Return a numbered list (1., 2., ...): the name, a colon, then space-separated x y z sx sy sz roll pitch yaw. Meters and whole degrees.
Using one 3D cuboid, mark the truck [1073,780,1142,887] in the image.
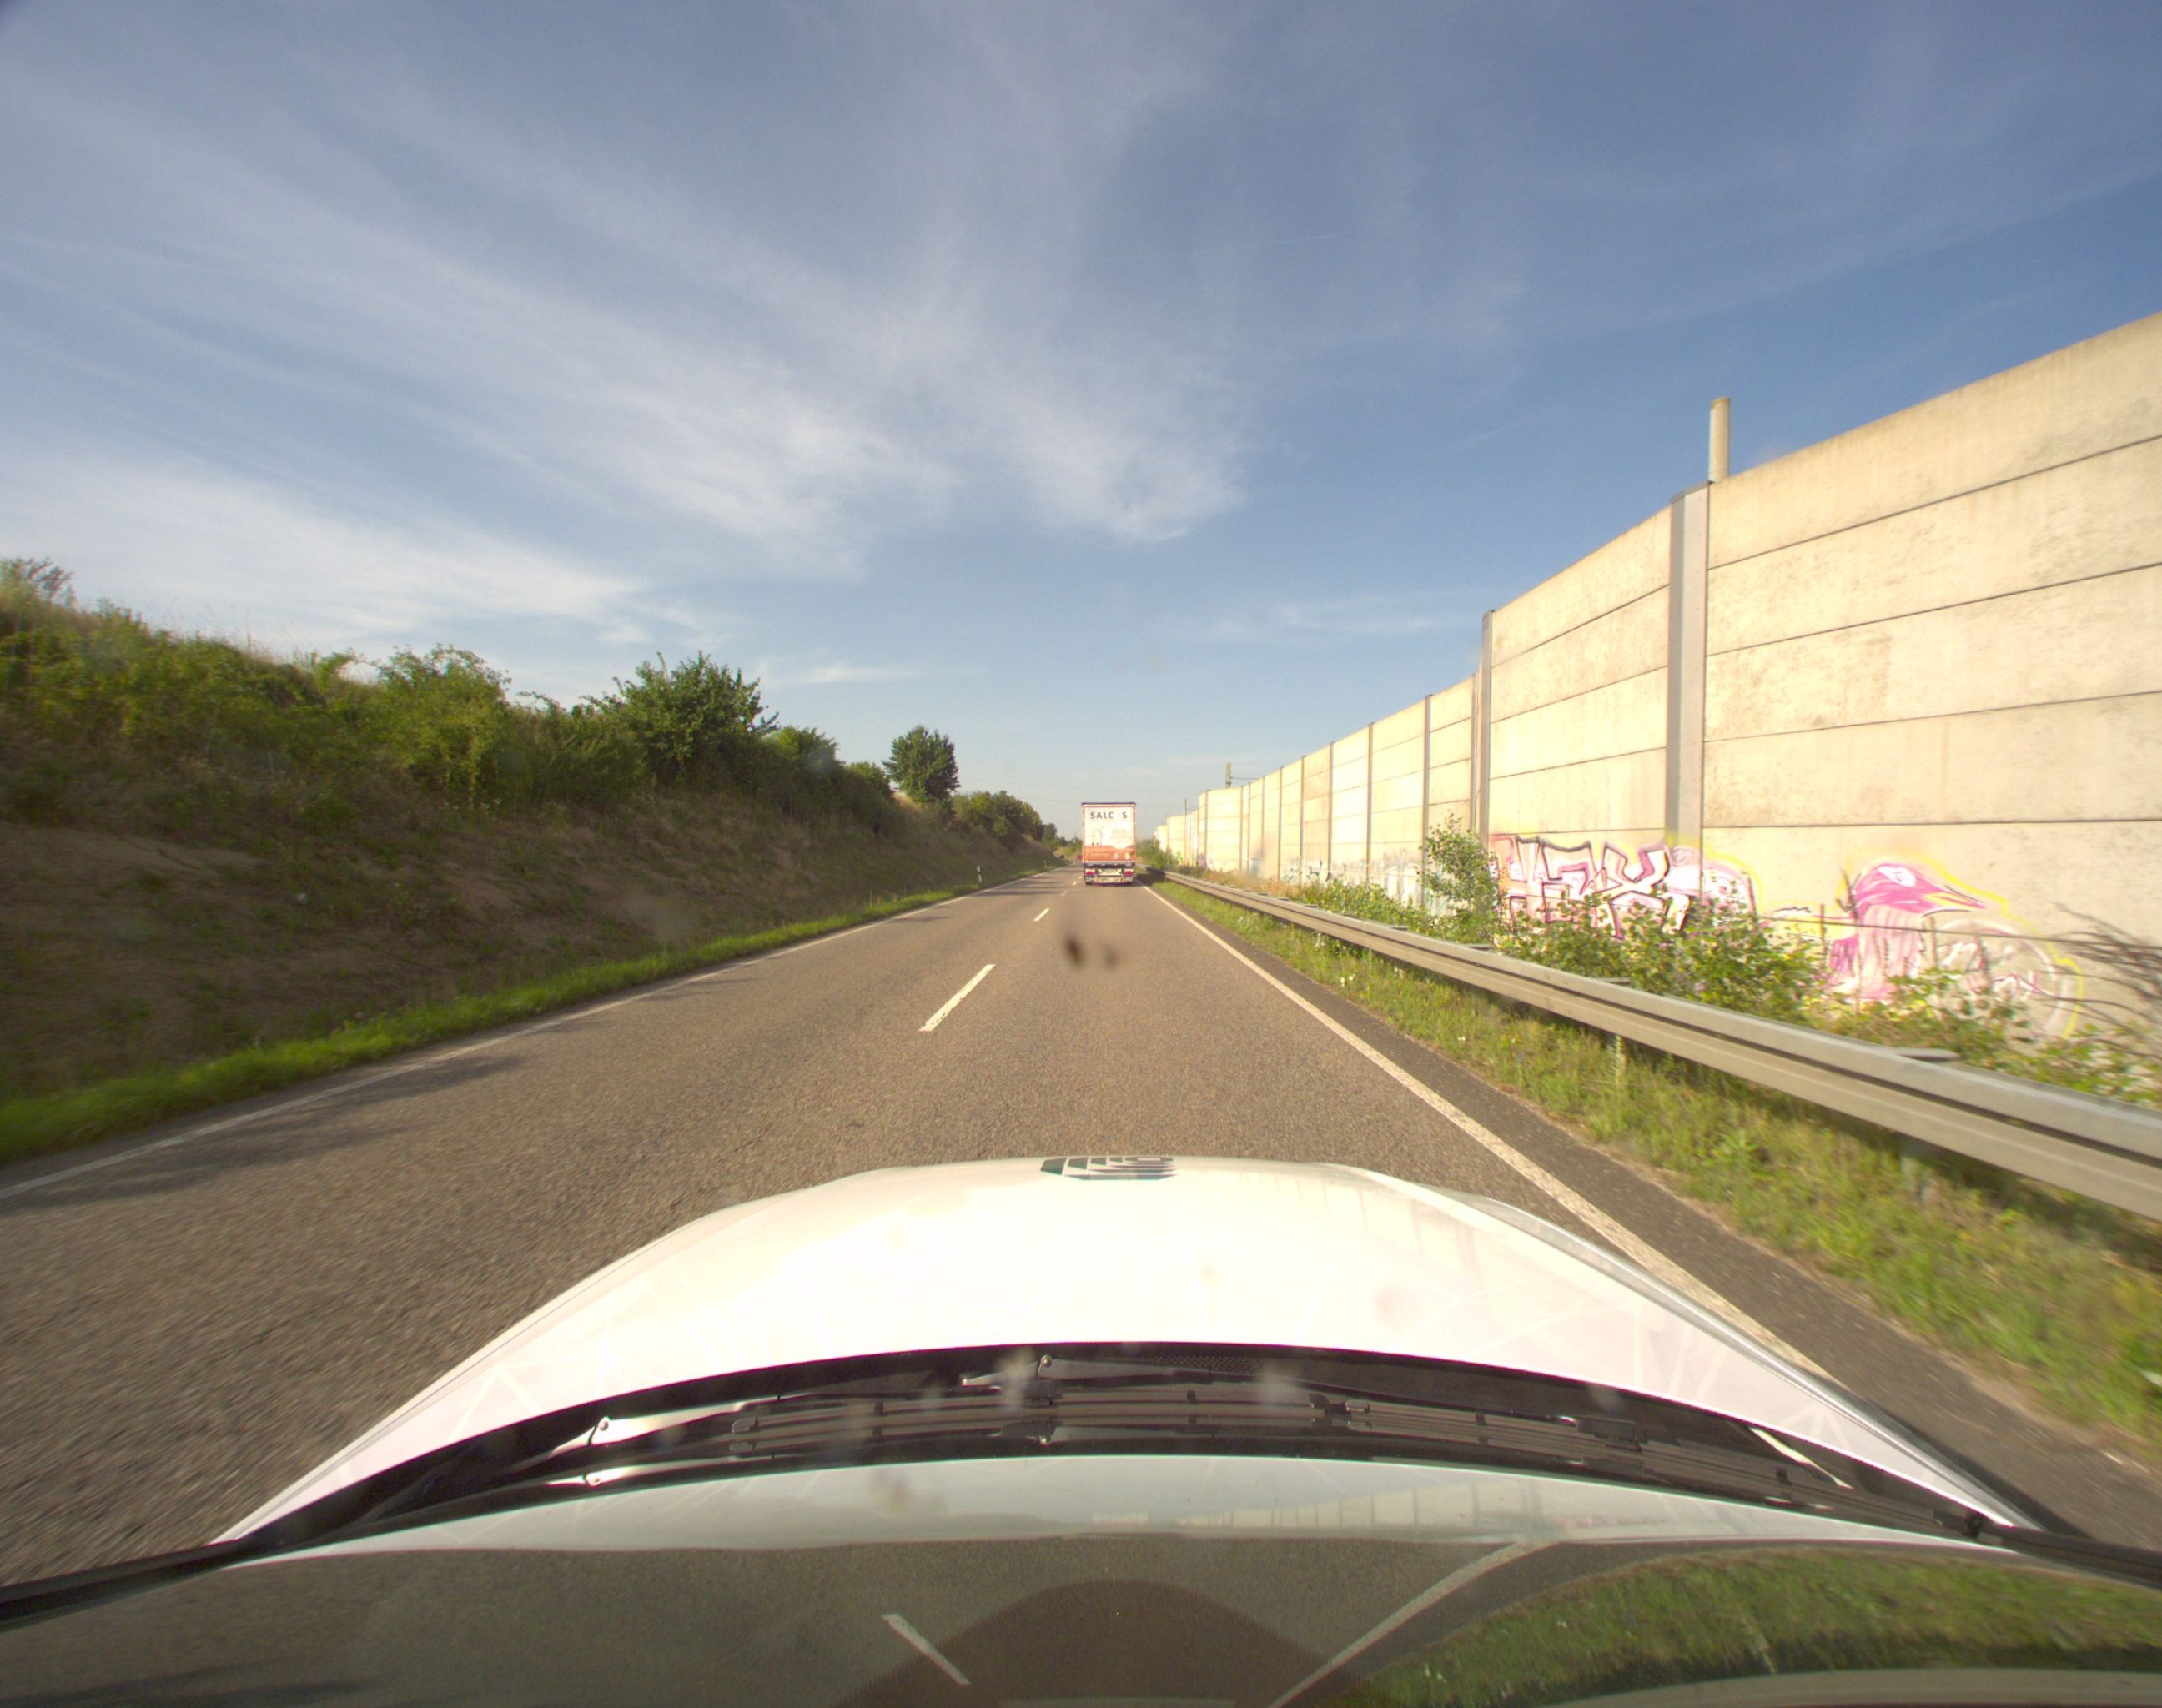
1. truck: 1.253 -1.037 44.802 3.280 5.090 12.035 0 0 0
